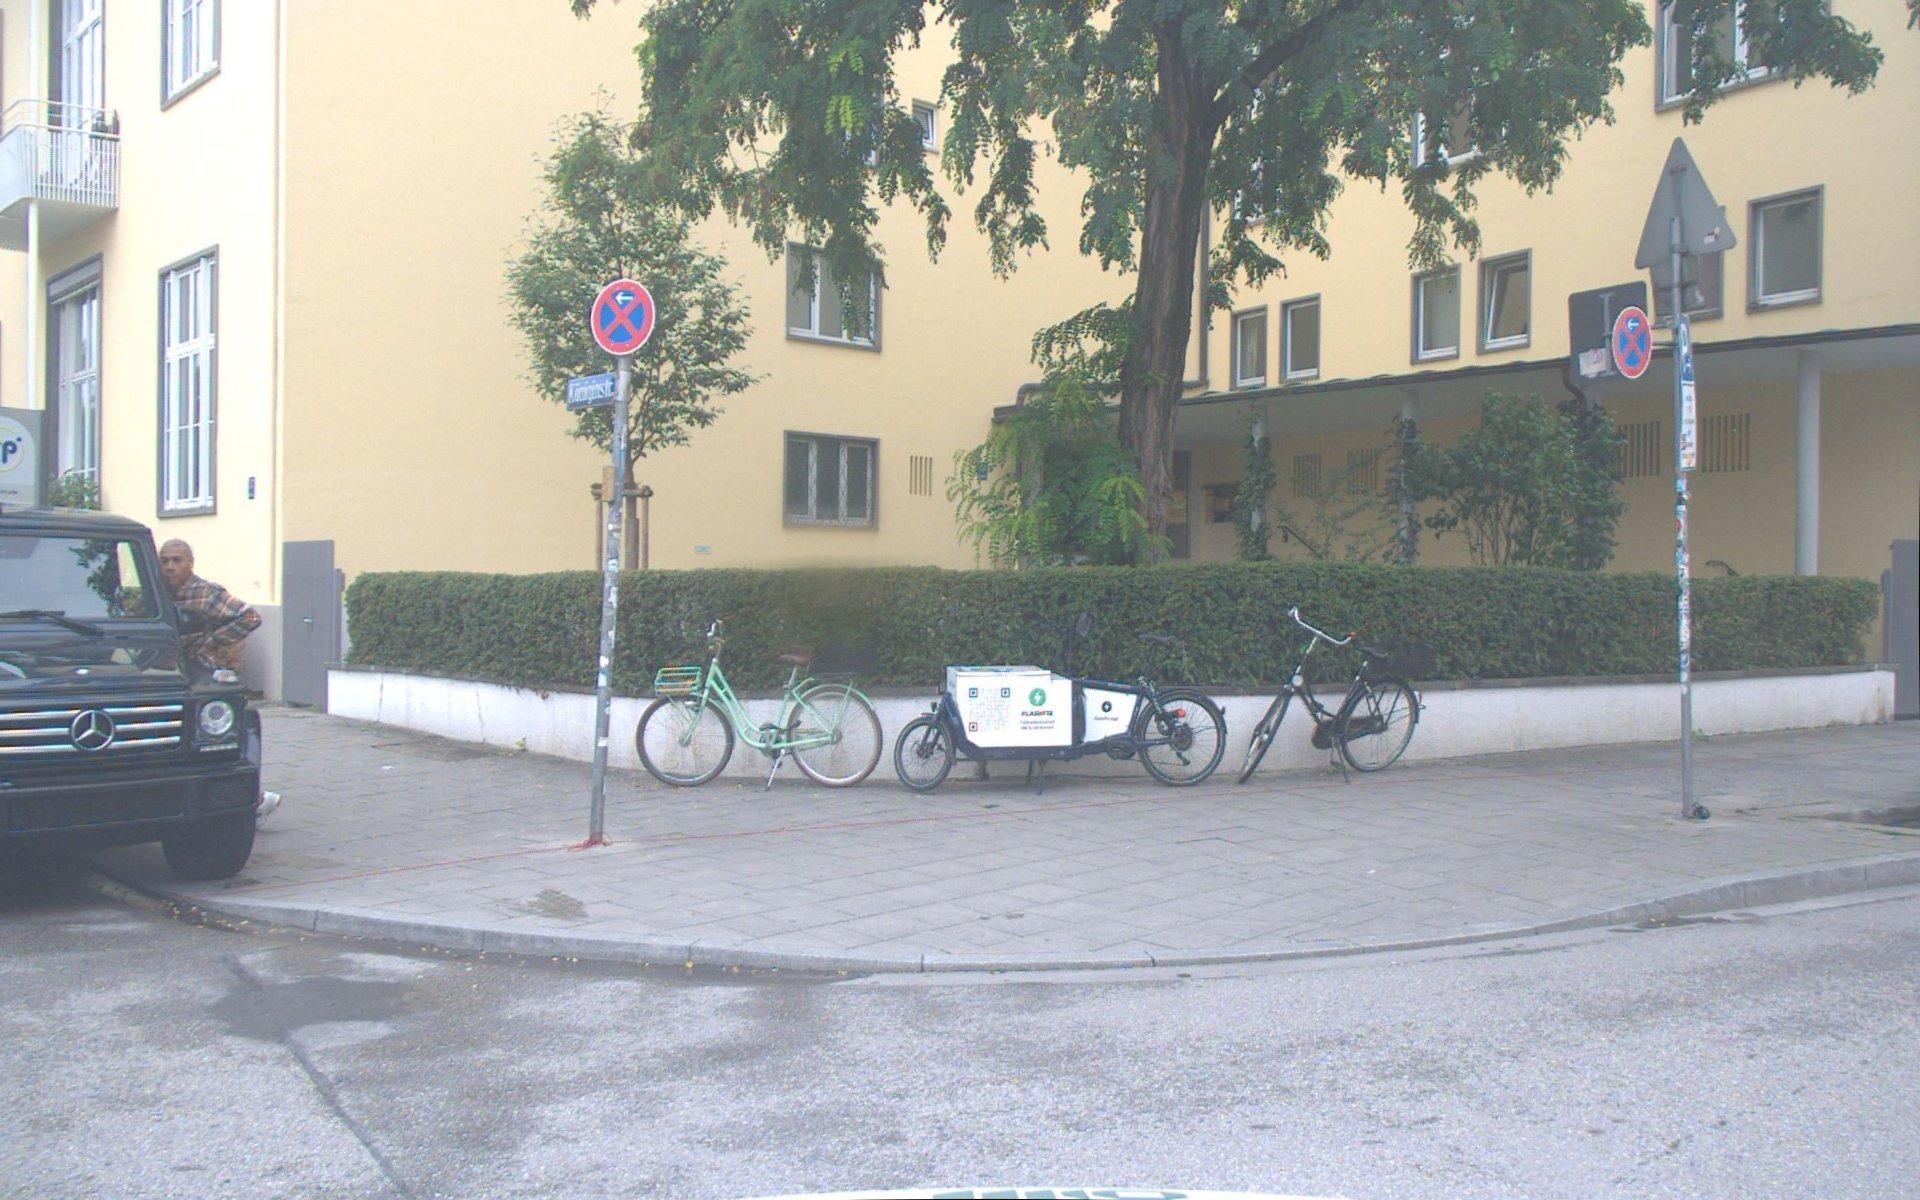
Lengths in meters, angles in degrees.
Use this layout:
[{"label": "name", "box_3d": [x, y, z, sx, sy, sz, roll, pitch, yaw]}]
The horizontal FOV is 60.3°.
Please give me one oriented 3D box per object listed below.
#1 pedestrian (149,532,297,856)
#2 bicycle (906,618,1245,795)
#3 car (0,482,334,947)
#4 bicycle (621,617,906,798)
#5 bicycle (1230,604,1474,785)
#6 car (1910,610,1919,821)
[{"label": "pedestrian", "box_3d": [-4.339, 0.530, 9.771, 0.627, 1.830, 0.559, -2, 1, -12]}, {"label": "bicycle", "box_3d": [0.773, 0.714, 11.325, 2.246, 1.145, 0.583, 0, 2, -6]}, {"label": "car", "box_3d": [-5.338, 0.488, 9.172, 1.921, 2.036, 4.348, 1, 0, -44]}, {"label": "bicycle", "box_3d": [-1.381, 0.726, 11.608, 1.905, 1.176, 0.584, 0, 2, 19]}, {"label": "bicycle", "box_3d": [2.888, 0.658, 12.136, 1.827, 1.231, 0.558, 0, 1, -28]}, {"label": "car", "box_3d": [8.661, 0.744, 11.562, 4.042, 1.435, 1.733, -1, 0, -31]}]
